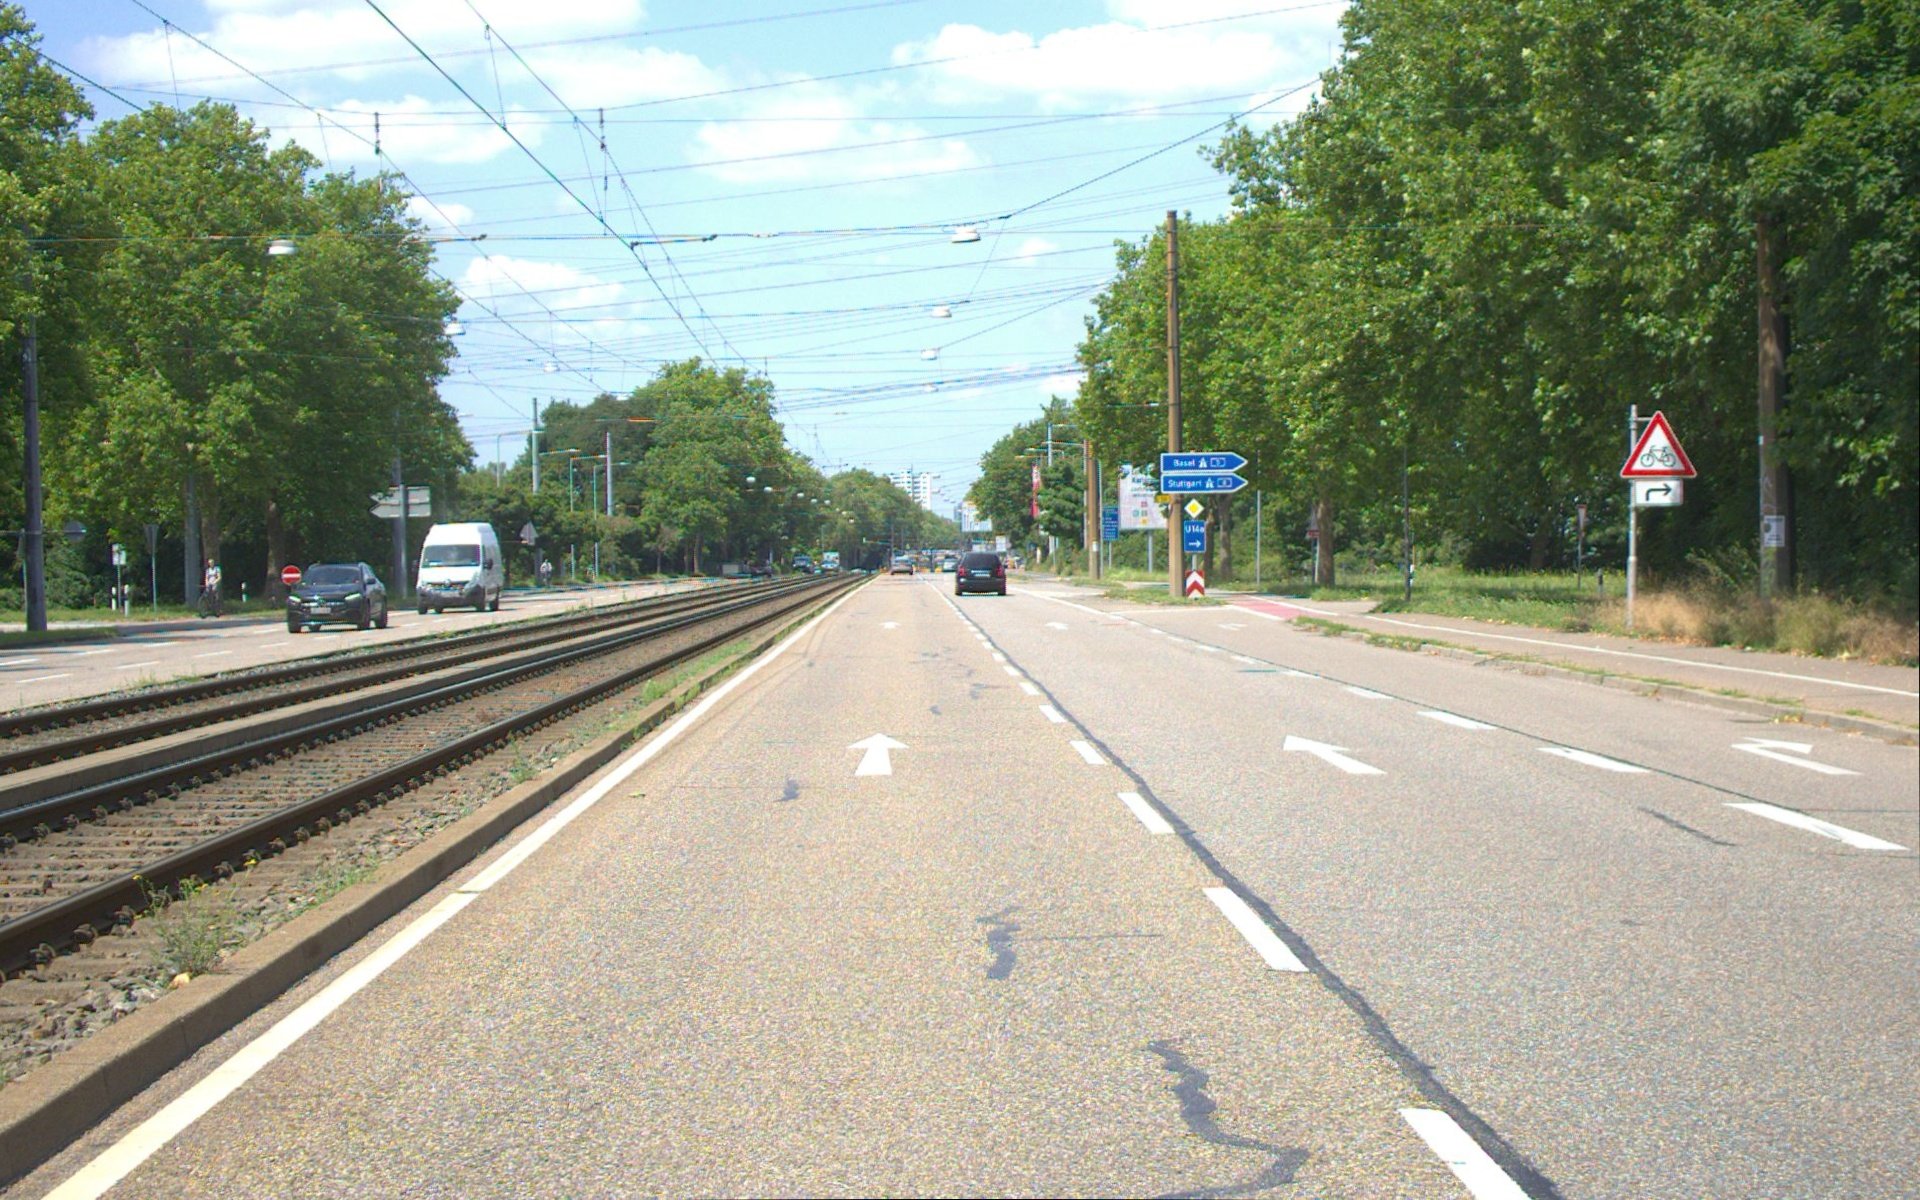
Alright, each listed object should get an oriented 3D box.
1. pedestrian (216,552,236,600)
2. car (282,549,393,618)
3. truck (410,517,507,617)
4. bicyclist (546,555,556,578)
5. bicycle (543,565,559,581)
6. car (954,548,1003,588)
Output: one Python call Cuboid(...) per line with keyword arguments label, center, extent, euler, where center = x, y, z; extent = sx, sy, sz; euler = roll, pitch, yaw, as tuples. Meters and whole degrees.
Cuboid(label="pedestrian", center=(-23.861, -0.787, 111.711), extent=(0.513, 1.546, 0.704), euler=(-2, 1, -6))
Cuboid(label="car", center=(-14.575, -0.413, 80.724), extent=(1.817, 1.509, 4.428), euler=(-2, 1, -1))
Cuboid(label="truck", center=(-15.450, -1.045, 106.179), extent=(2.054, 2.929, 6.320), euler=(-2, 1, -1))
Cuboid(label="bicyclist", center=(-22.757, -1.875, 191.217), extent=(0.454, 1.268, 0.398), euler=(-1, 1, 2))
Cuboid(label="bicycle", center=(-22.756, -1.486, 191.310), extent=(0.515, 0.854, 1.931), euler=(-2, 1, 2))
Cuboid(label="car", center=(0.652, -1.152, 122.337), extent=(1.586, 1.338, 3.273), euler=(-1, 2, -2))
